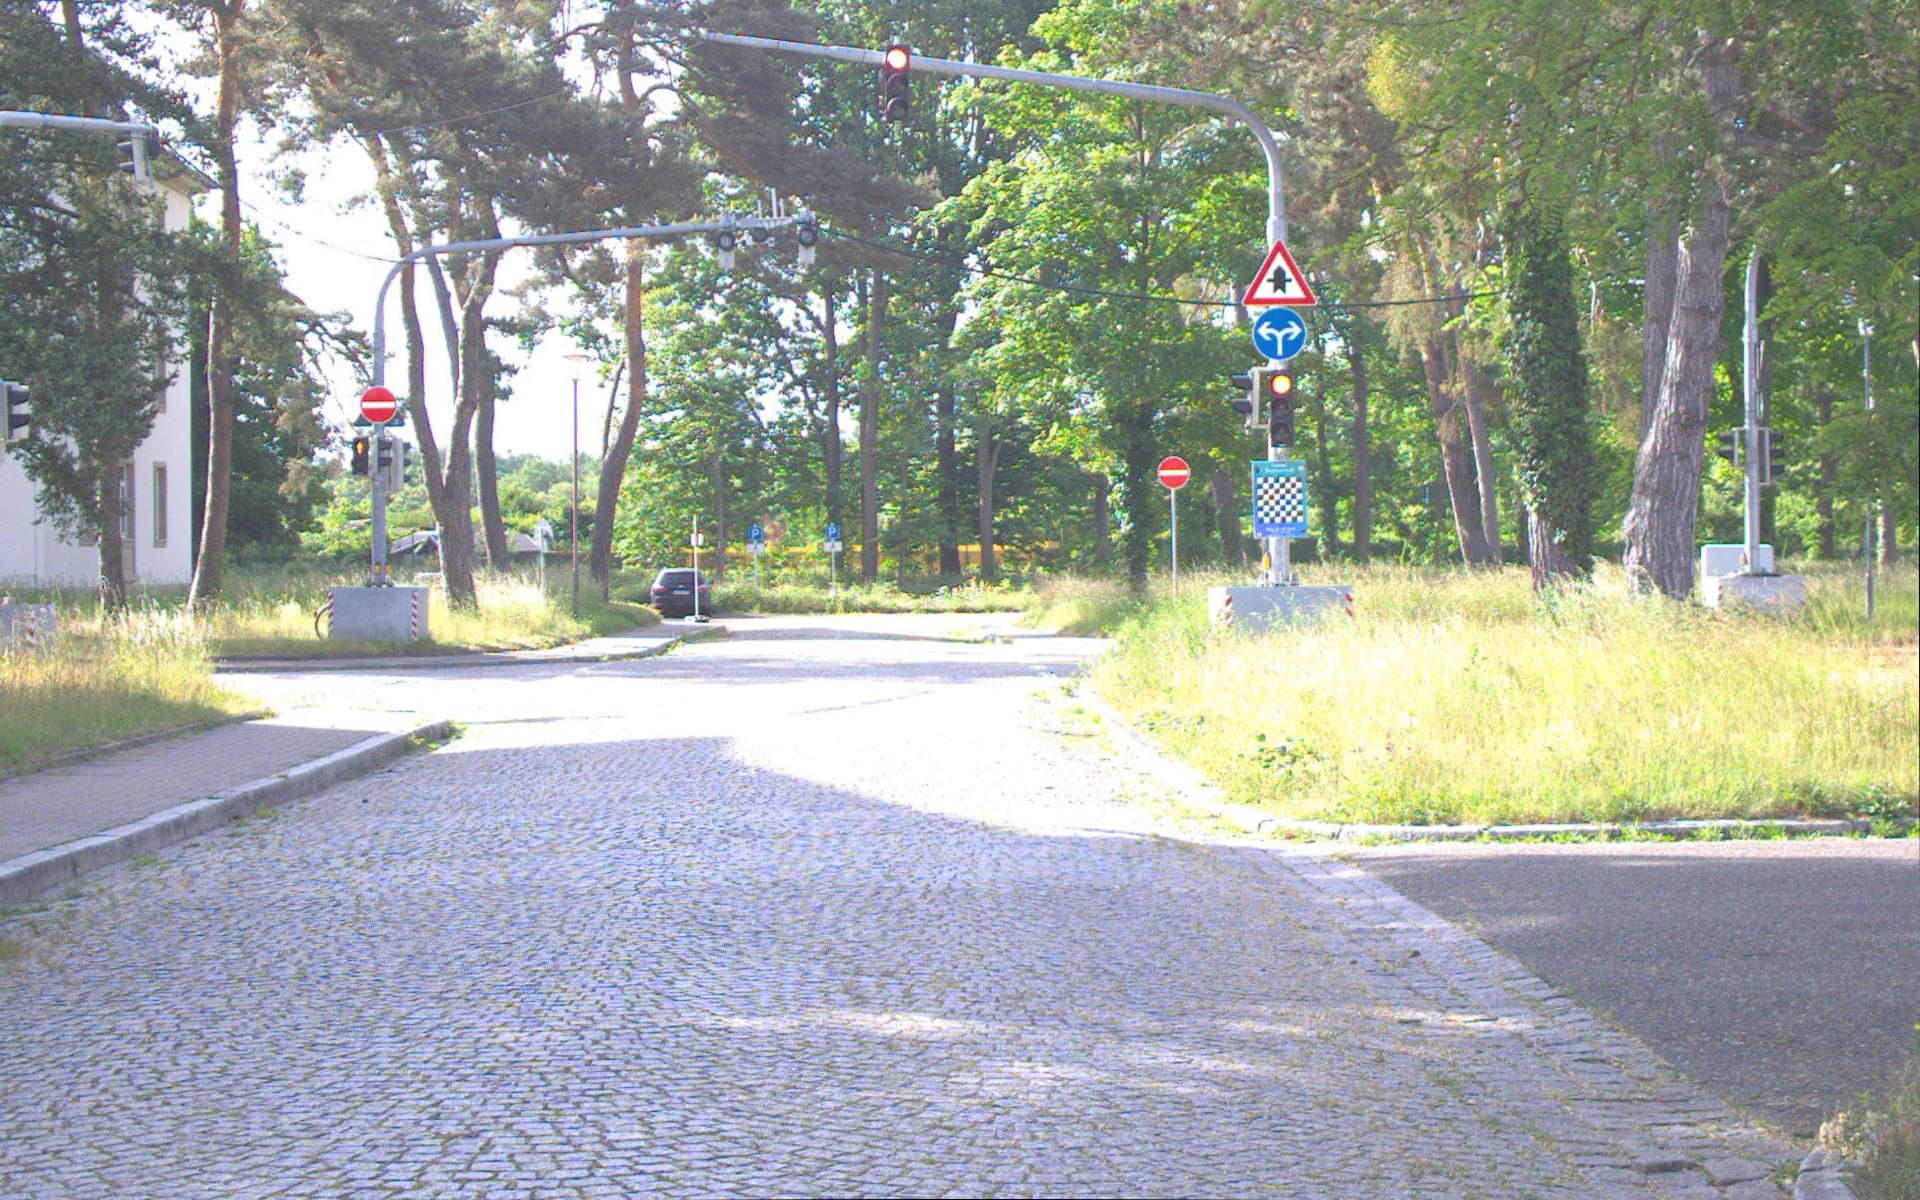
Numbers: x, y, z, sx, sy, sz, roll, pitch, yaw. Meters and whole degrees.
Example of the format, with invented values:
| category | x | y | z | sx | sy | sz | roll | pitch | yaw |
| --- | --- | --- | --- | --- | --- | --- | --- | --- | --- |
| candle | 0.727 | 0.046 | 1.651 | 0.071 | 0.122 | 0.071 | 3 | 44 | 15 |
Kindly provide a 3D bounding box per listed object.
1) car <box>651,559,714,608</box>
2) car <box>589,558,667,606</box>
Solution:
| category | x | y | z | sx | sy | sz | roll | pitch | yaw |
| --- | --- | --- | --- | --- | --- | --- | --- | --- | --- |
| car | -8.533 | -0.526 | 105.908 | 1.844 | 1.481 | 4.001 | 0 | 1 | -4 |
| car | -10.665 | -0.596 | 110.665 | 1.783 | 1.485 | 3.754 | 0 | 1 | 6 |
